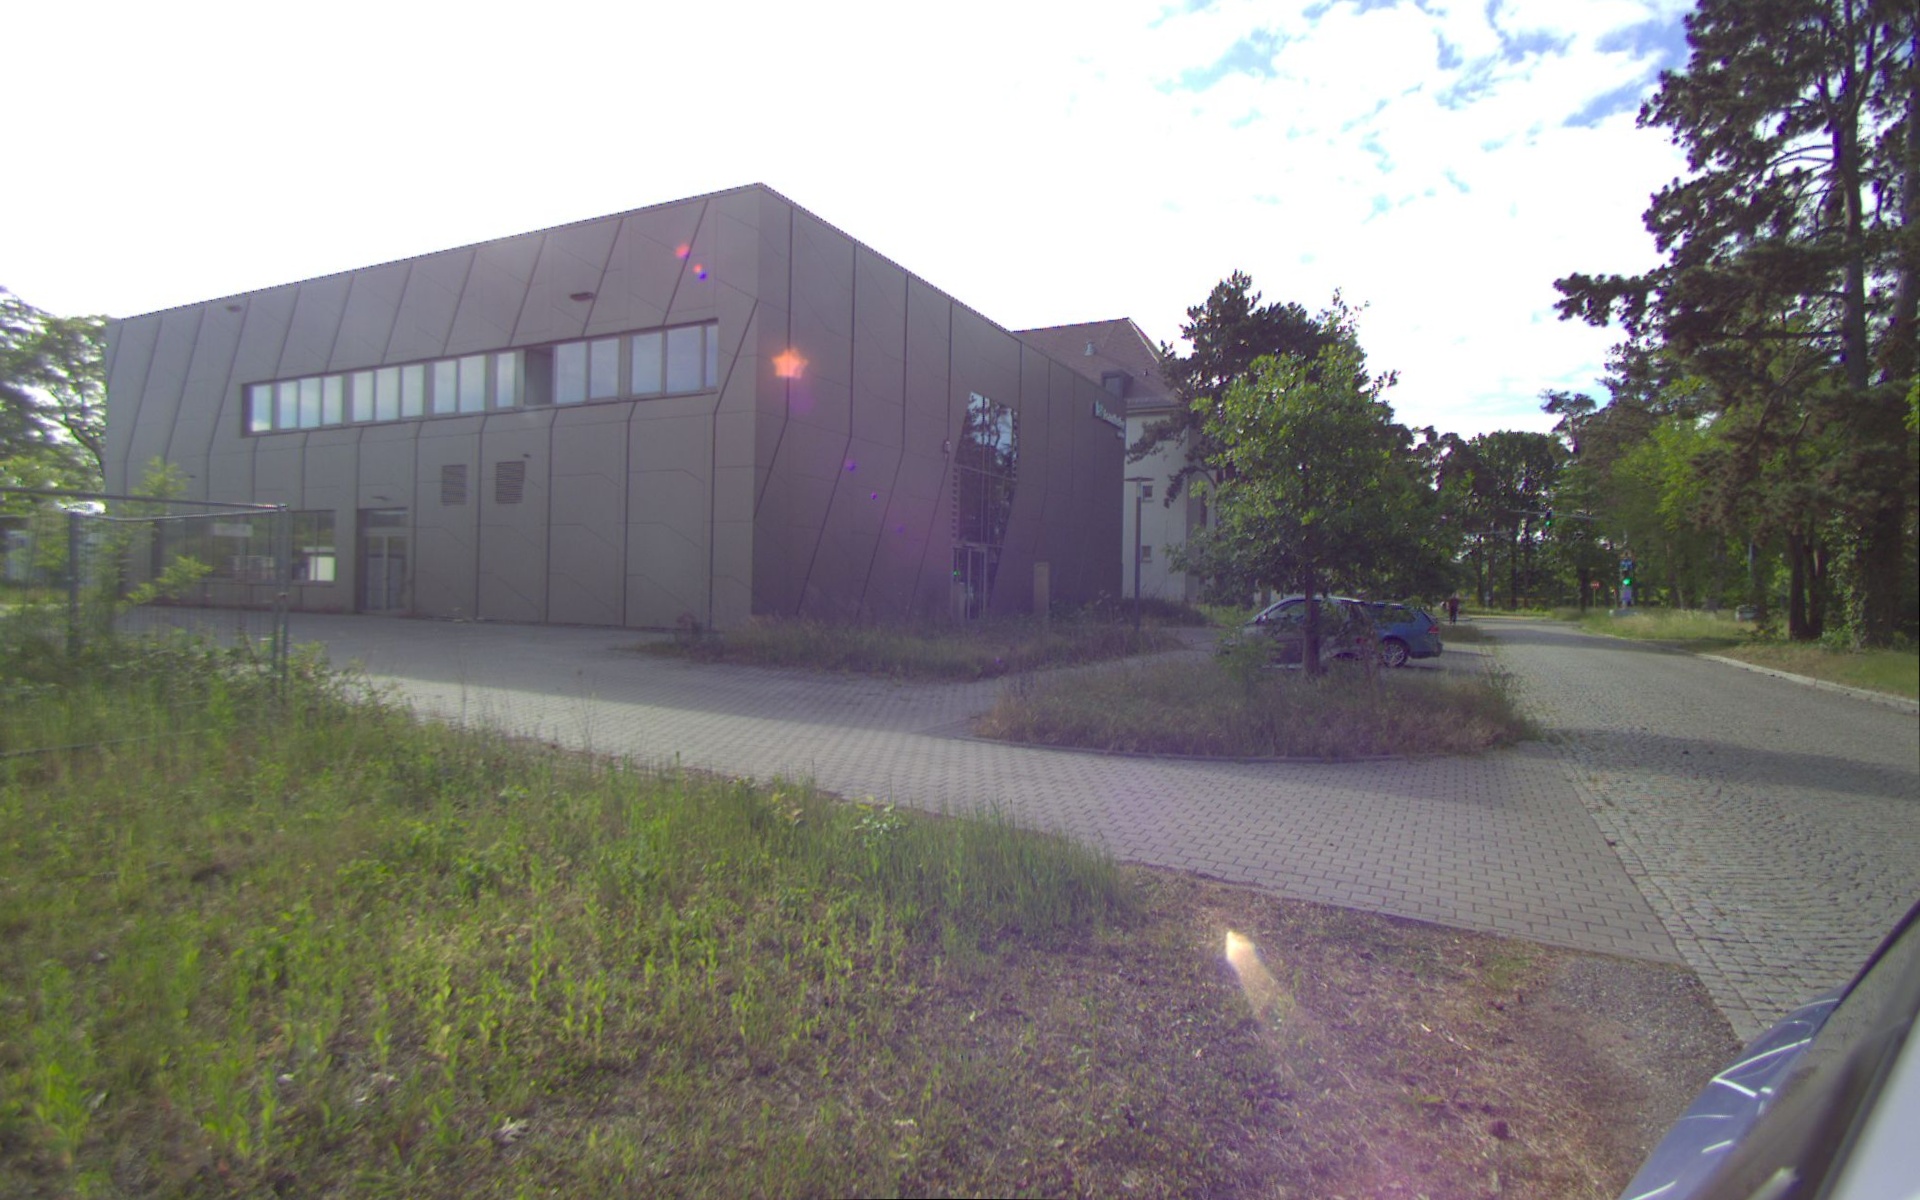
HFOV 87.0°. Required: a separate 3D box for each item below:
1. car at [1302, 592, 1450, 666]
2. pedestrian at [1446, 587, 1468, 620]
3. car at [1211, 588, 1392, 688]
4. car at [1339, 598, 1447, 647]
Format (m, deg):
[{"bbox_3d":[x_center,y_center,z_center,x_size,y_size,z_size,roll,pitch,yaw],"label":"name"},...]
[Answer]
[{"bbox_3d":[9.731,0.631,23.797,3.060,1.475,1.480,4,1,23],"label":"car"},{"bbox_3d":[28.690,0.203,58.415,0.945,1.867,0.952,1,0,13],"label":"pedestrian"},{"bbox_3d":[5.944,0.600,17.638,2.747,1.569,1.409,1,0,32],"label":"car"},{"bbox_3d":[13.721,0.684,32.201,3.057,1.468,1.481,1,0,22],"label":"car"}]
